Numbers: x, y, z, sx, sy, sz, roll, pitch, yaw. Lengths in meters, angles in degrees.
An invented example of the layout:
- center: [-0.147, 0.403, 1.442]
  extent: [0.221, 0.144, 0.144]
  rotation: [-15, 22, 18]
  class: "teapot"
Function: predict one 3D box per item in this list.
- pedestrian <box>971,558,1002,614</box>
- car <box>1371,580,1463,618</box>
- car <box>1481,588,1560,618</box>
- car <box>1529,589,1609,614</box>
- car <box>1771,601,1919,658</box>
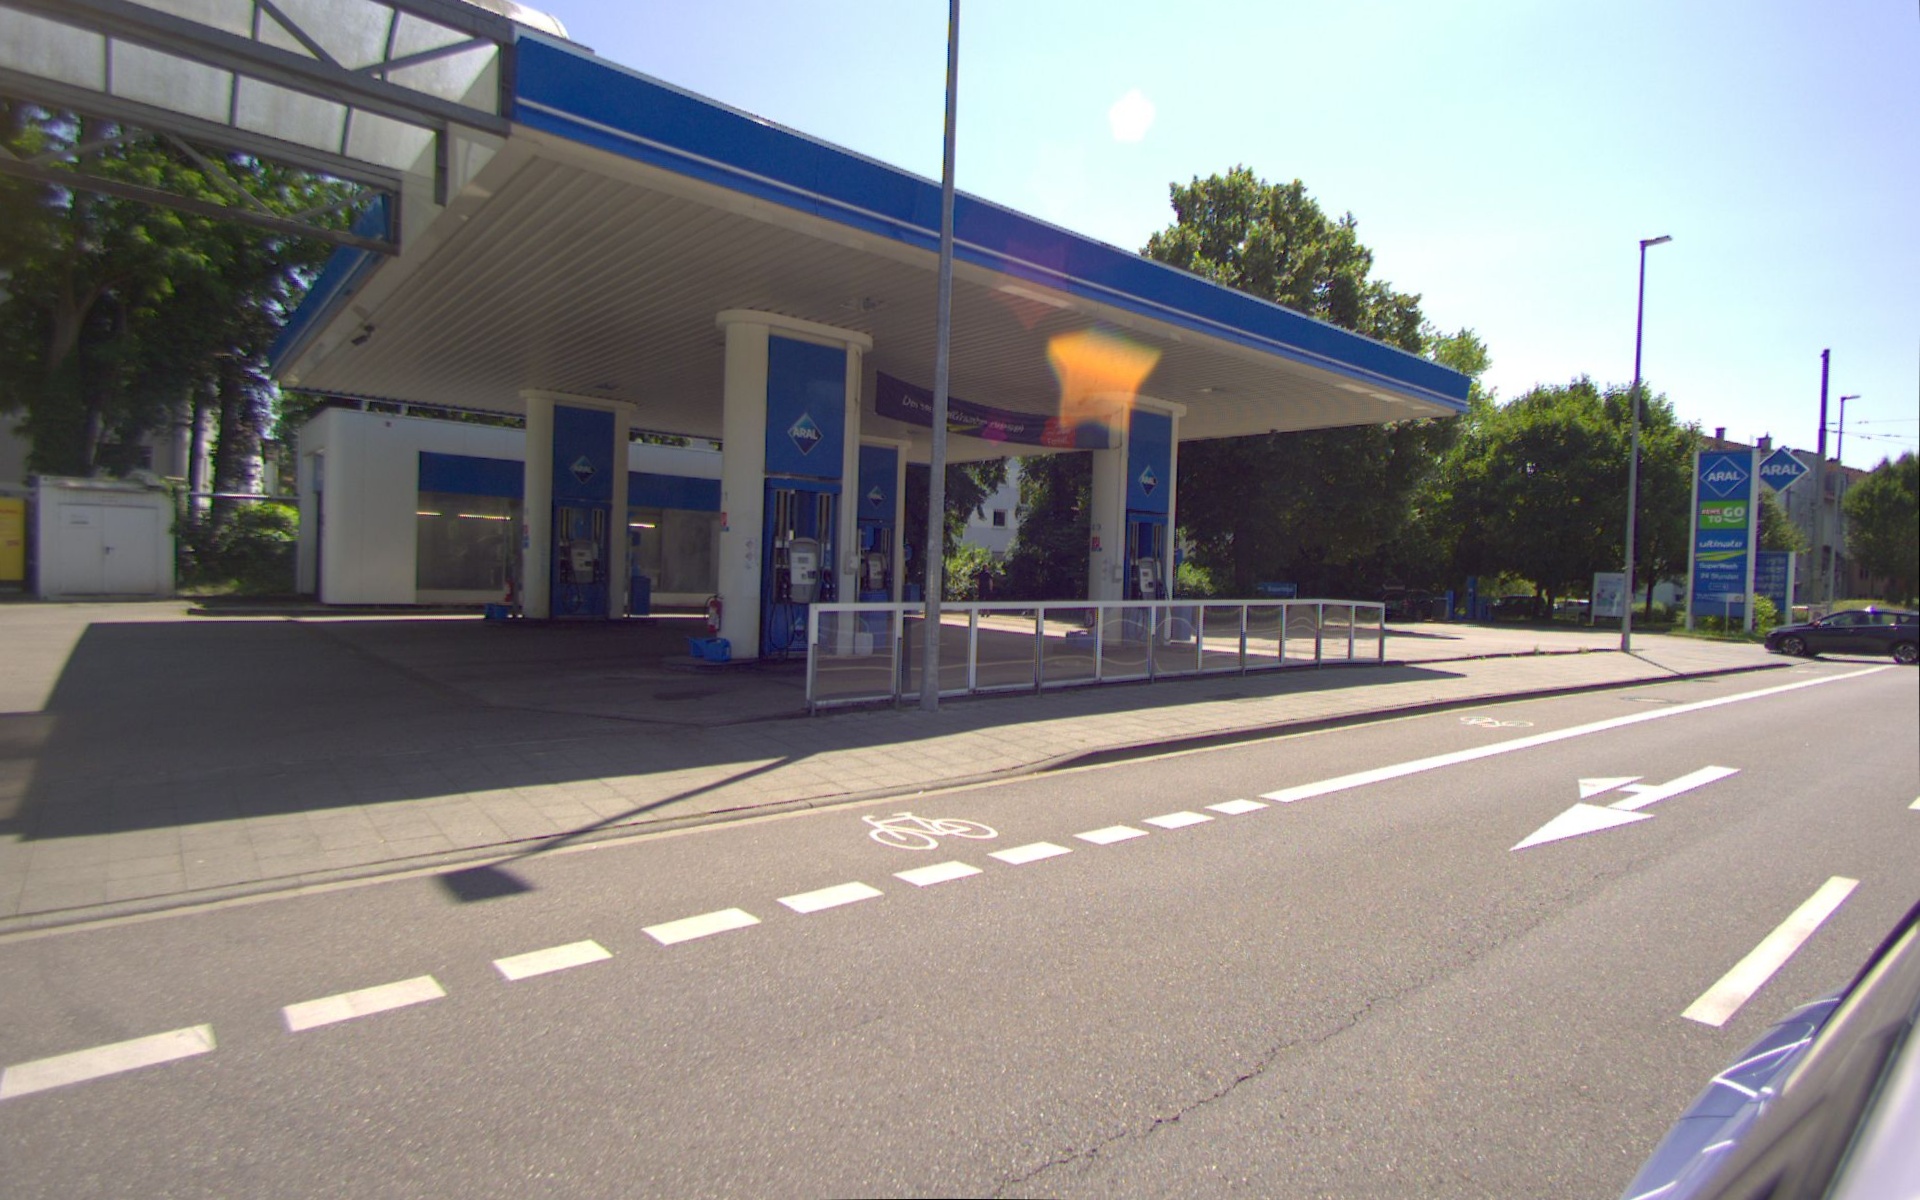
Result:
- center: [0.927, -0.499, 35.640]
  extent: [0.822, 1.912, 0.626]
  rotation: [2, 1, -41]
  class: "pedestrian"
- center: [21.409, -0.092, 47.333]
  extent: [4.328, 1.683, 2.000]
  rotation: [-1, 2, -36]
  class: "car"
- center: [35.834, 0.181, 64.796]
  extent: [1.959, 1.708, 4.008]
  rotation: [1, 2, -25]
  class: "car"
- center: [41.620, 0.071, 69.238]
  extent: [1.961, 1.539, 4.231]
  rotation: [1, 2, -32]
  class: "car"
- center: [25.845, 0.820, 28.671]
  extent: [1.686, 1.440, 4.143]
  rotation: [1, 1, -35]
  class: "car"
